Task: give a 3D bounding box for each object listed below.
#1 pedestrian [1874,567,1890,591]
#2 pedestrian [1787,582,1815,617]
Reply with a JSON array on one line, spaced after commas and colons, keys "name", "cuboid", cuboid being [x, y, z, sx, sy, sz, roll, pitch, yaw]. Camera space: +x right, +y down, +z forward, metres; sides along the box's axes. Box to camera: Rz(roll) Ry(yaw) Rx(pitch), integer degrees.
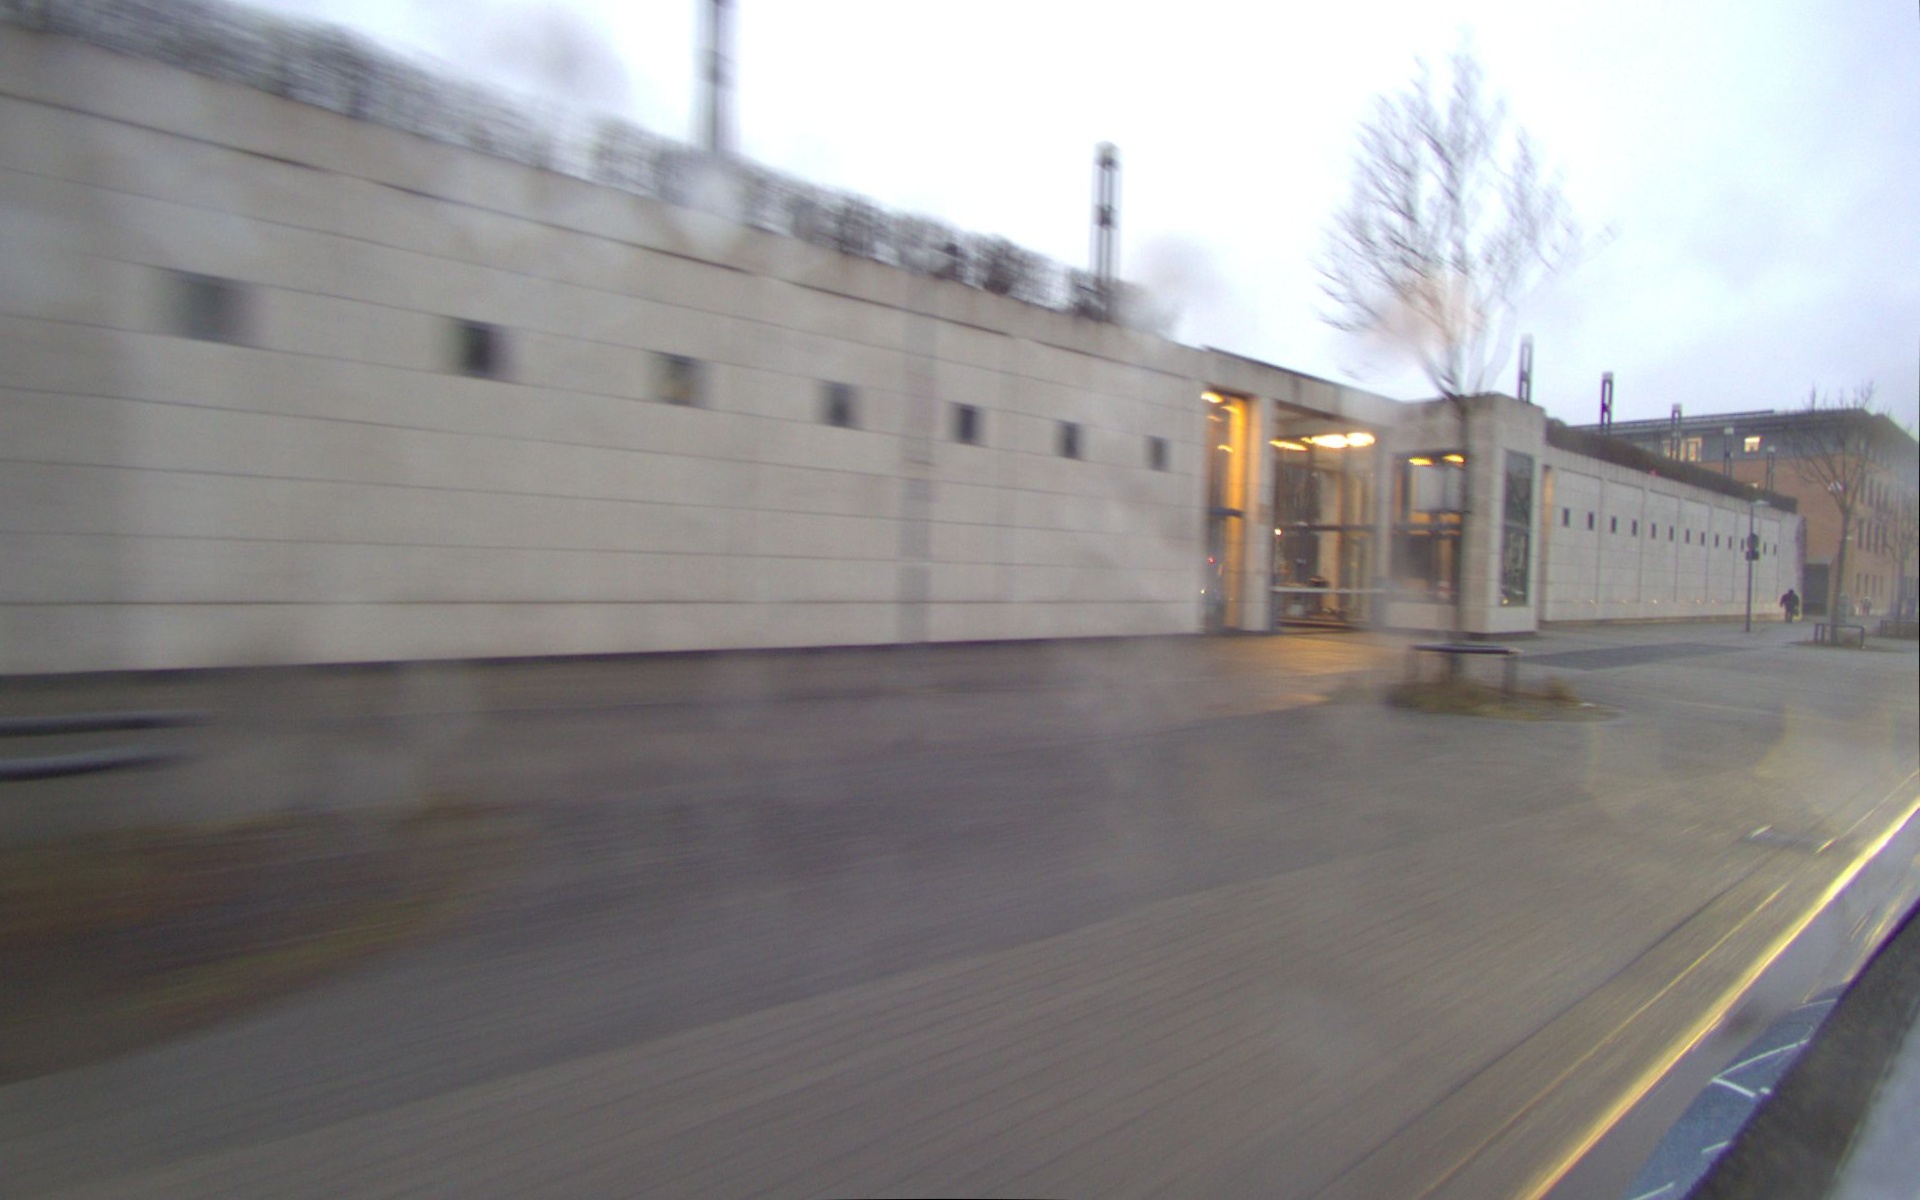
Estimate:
[{"name": "pedestrian", "cuboid": [66.677, -1.531, 73.206, 0.756, 1.668, 0.674, 0, 4, -41]}, {"name": "pedestrian", "cuboid": [40.815, -0.034, 49.115, 0.868, 1.650, 0.814, 0, 4, -41]}]
